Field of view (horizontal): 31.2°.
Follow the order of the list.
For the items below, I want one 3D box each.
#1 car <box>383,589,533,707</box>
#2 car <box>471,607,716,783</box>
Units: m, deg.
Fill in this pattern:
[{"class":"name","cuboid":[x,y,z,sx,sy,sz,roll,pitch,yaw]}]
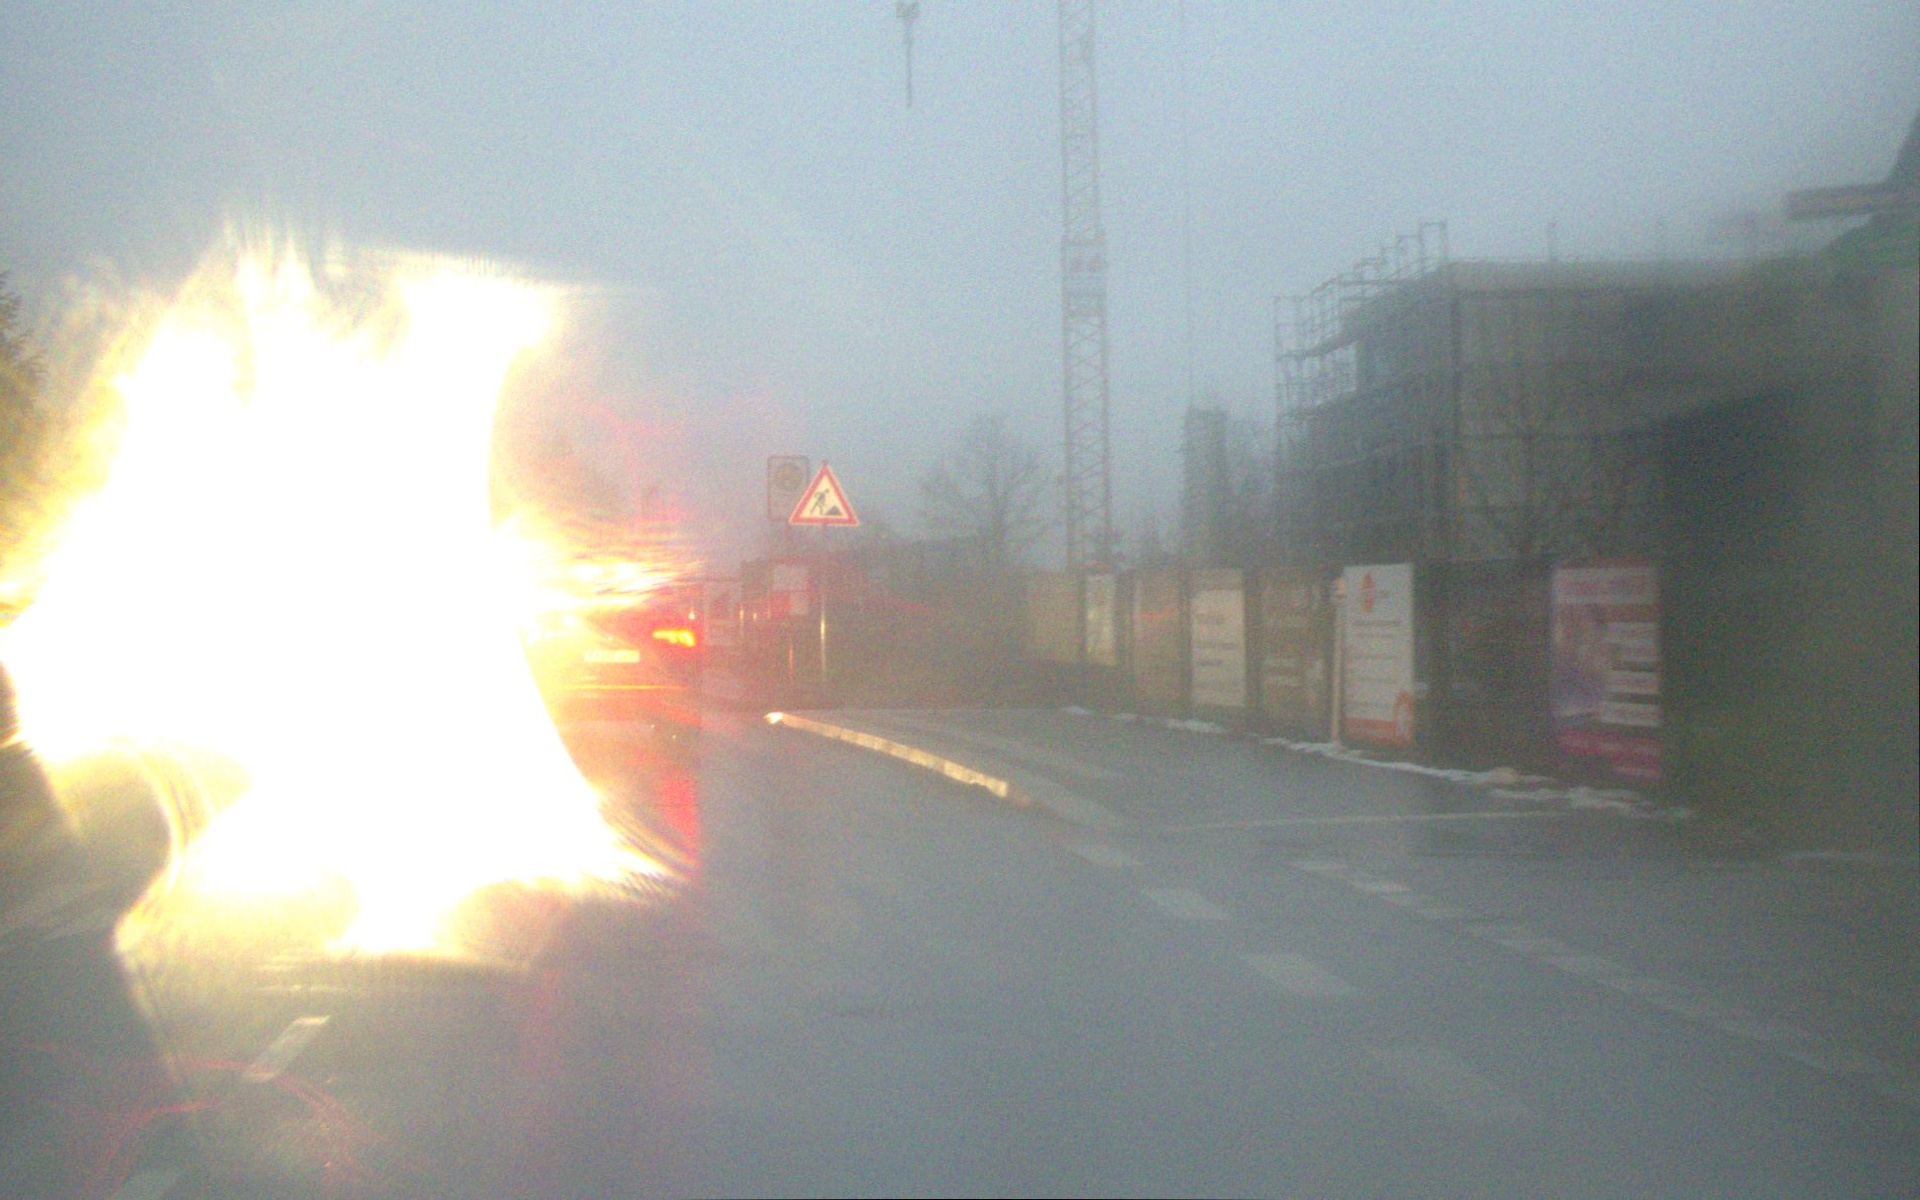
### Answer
[{"class":"car","cuboid":[-8.695,0.799,59.308,1.993,1.875,4.001,-2,0,-15]},{"class":"car","cuboid":[-3.727,0.909,34.242,2.046,1.567,4.704,-2,-1,-10]}]
